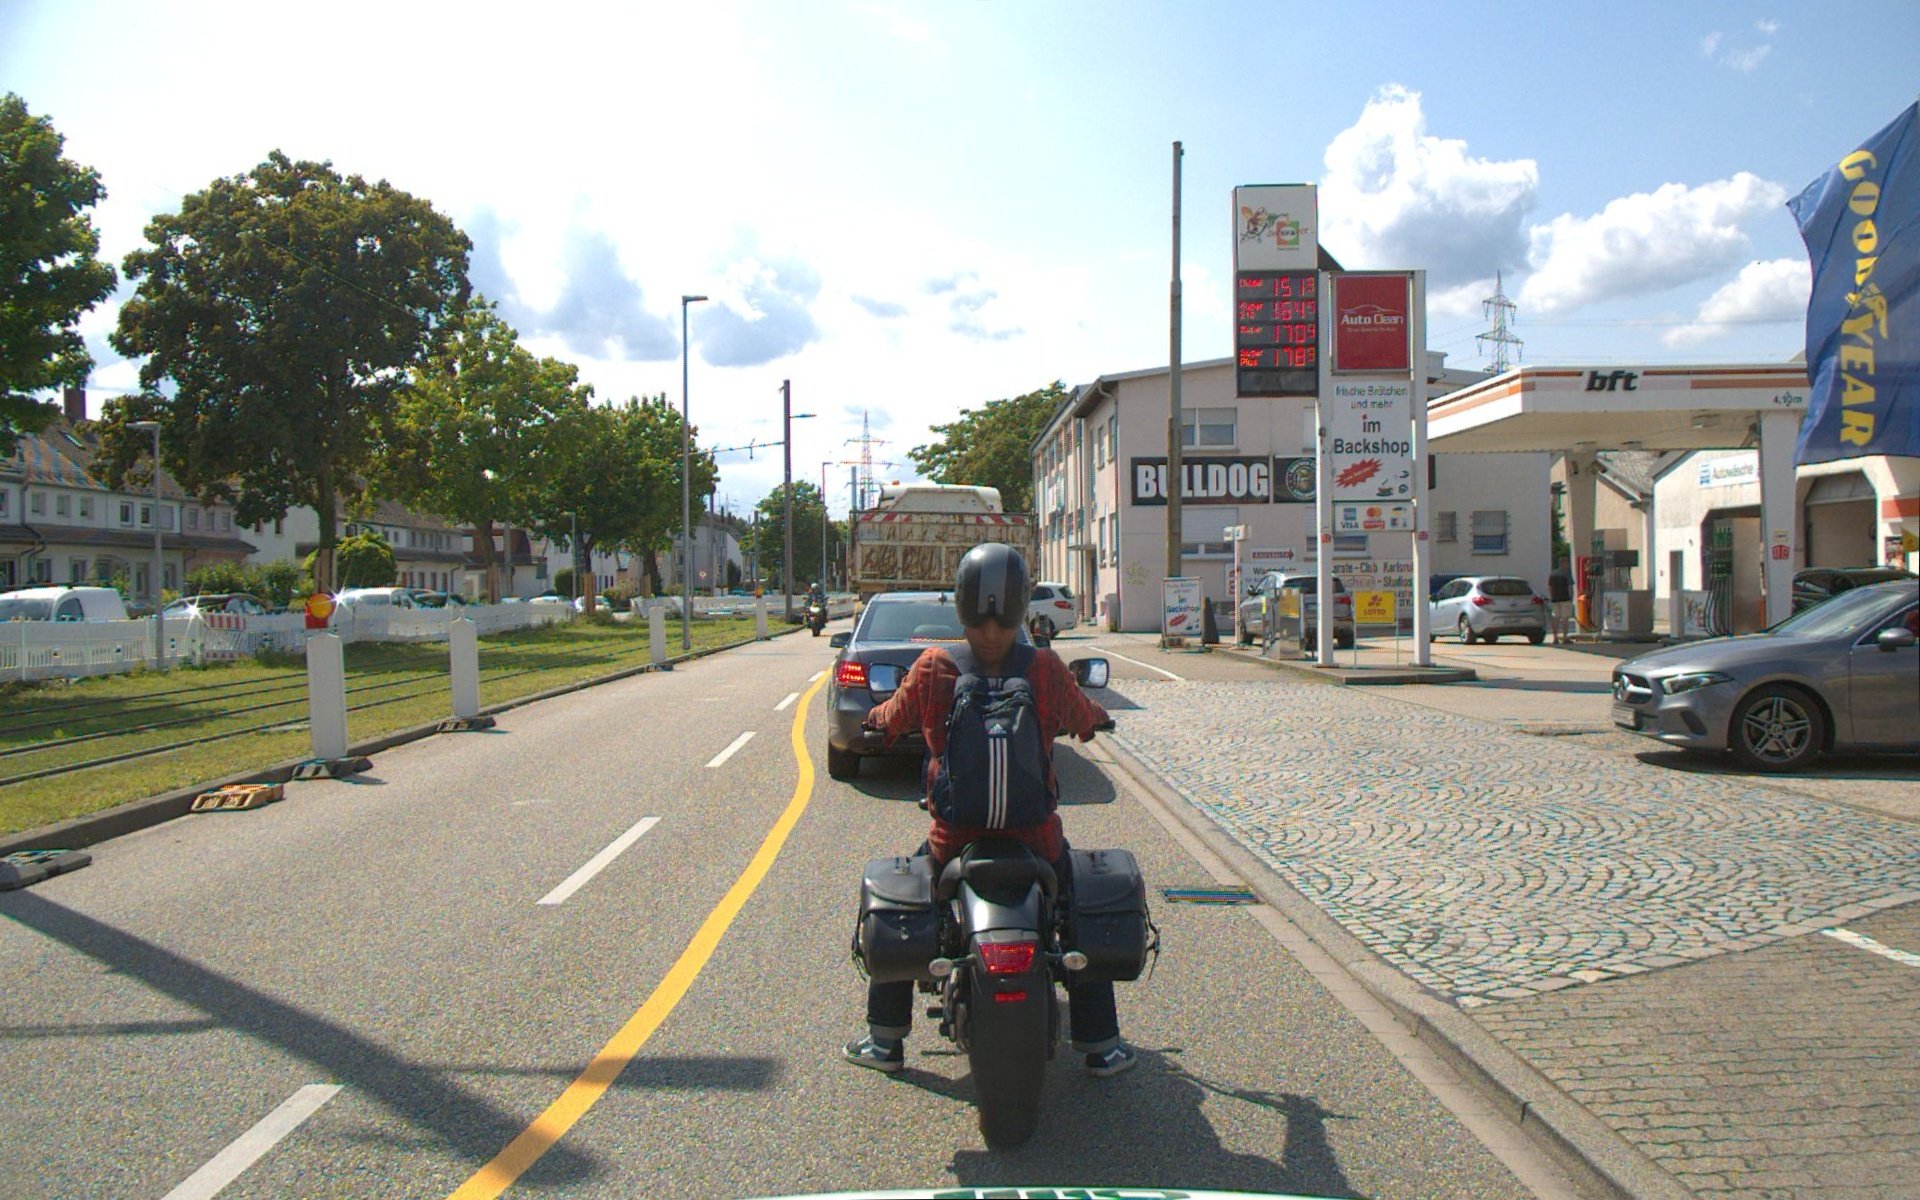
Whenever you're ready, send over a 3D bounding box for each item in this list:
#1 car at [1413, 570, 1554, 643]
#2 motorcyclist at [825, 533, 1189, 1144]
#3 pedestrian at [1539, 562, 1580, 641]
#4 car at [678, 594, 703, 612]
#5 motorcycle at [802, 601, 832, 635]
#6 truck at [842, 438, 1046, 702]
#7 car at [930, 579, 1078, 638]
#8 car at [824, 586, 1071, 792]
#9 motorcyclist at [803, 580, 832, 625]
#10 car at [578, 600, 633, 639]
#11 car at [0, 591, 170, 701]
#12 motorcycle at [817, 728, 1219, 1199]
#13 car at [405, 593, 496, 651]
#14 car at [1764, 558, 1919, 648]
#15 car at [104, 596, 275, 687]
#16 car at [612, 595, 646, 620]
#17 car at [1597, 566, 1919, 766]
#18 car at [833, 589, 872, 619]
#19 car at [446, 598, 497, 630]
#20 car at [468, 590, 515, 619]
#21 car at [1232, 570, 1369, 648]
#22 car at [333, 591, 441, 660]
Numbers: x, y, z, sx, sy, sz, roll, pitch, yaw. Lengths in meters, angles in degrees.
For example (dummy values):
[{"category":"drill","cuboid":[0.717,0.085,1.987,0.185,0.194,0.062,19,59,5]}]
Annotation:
[{"category":"car","cuboid":[11.723,0.118,37.267,1.770,1.529,3.831,-1,0,-3]},{"category":"motorcyclist","cuboid":[0.121,0.639,5.020,0.959,1.630,1.087,-1,0,-1]},{"category":"pedestrian","cuboid":[12.955,0.029,35.714,0.696,1.685,0.546,-1,0,35]},{"category":"car","cuboid":[-26.070,0.282,160.262,1.740,1.753,4.250,-1,0,-1]},{"category":"motorcycle","cuboid":[-4.531,0.564,52.562,0.851,1.039,2.243,-1,0,-3]},{"category":"truck","cuboid":[-0.262,-0.426,25.367,2.585,3.354,8.055,-1,0,-1]},{"category":"car","cuboid":[1.251,0.223,47.285,4.143,1.570,1.673,-1,0,1]},{"category":"car","cuboid":[-0.116,0.636,14.111,1.786,1.478,3.999,1,0,-1]},{"category":"motorcyclist","cuboid":[-4.535,0.062,52.626,0.851,1.402,0.800,-1,0,-4]},{"category":"car","cuboid":[-17.051,0.906,79.688,1.740,1.753,4.127,-1,0,-1]},{"category":"car","cuboid":[-16.442,0.780,30.392,1.740,1.853,4.363,-1,0,-1]},{"category":"motorcycle","cuboid":[0.123,0.993,5.325,0.959,0.913,2.653,-1,0,-1]},{"category":"car","cuboid":[-16.969,0.696,55.264,1.740,1.837,4.127,-1,0,-1]},{"category":"car","cuboid":[16.619,0.024,30.322,1.770,1.529,3.832,-1,0,-3]},{"category":"car","cuboid":[-16.671,0.853,36.012,1.740,1.805,4.227,-1,0,-1]},{"category":"car","cuboid":[-24.958,0.545,124.855,1.740,1.753,4.127,-1,0,-1]},{"category":"car","cuboid":[7.342,0.461,12.832,4.181,1.440,1.675,-1,0,7]},{"category":"car","cuboid":[-5.721,0.182,88.296,1.786,1.478,4.323,-2,0,-1]},{"category":"car","cuboid":[-28.295,0.775,95.838,1.740,1.753,4.127,-1,0,-1]},{"category":"car","cuboid":[-29.420,0.272,103.955,1.740,1.753,4.127,-1,0,-1]},{"category":"car","cuboid":[7.459,0.174,36.632,1.636,1.589,4.236,-1,0,-8]},{"category":"car","cuboid":[-16.938,0.711,49.085,1.740,1.900,4.127,-1,0,-1]}]
